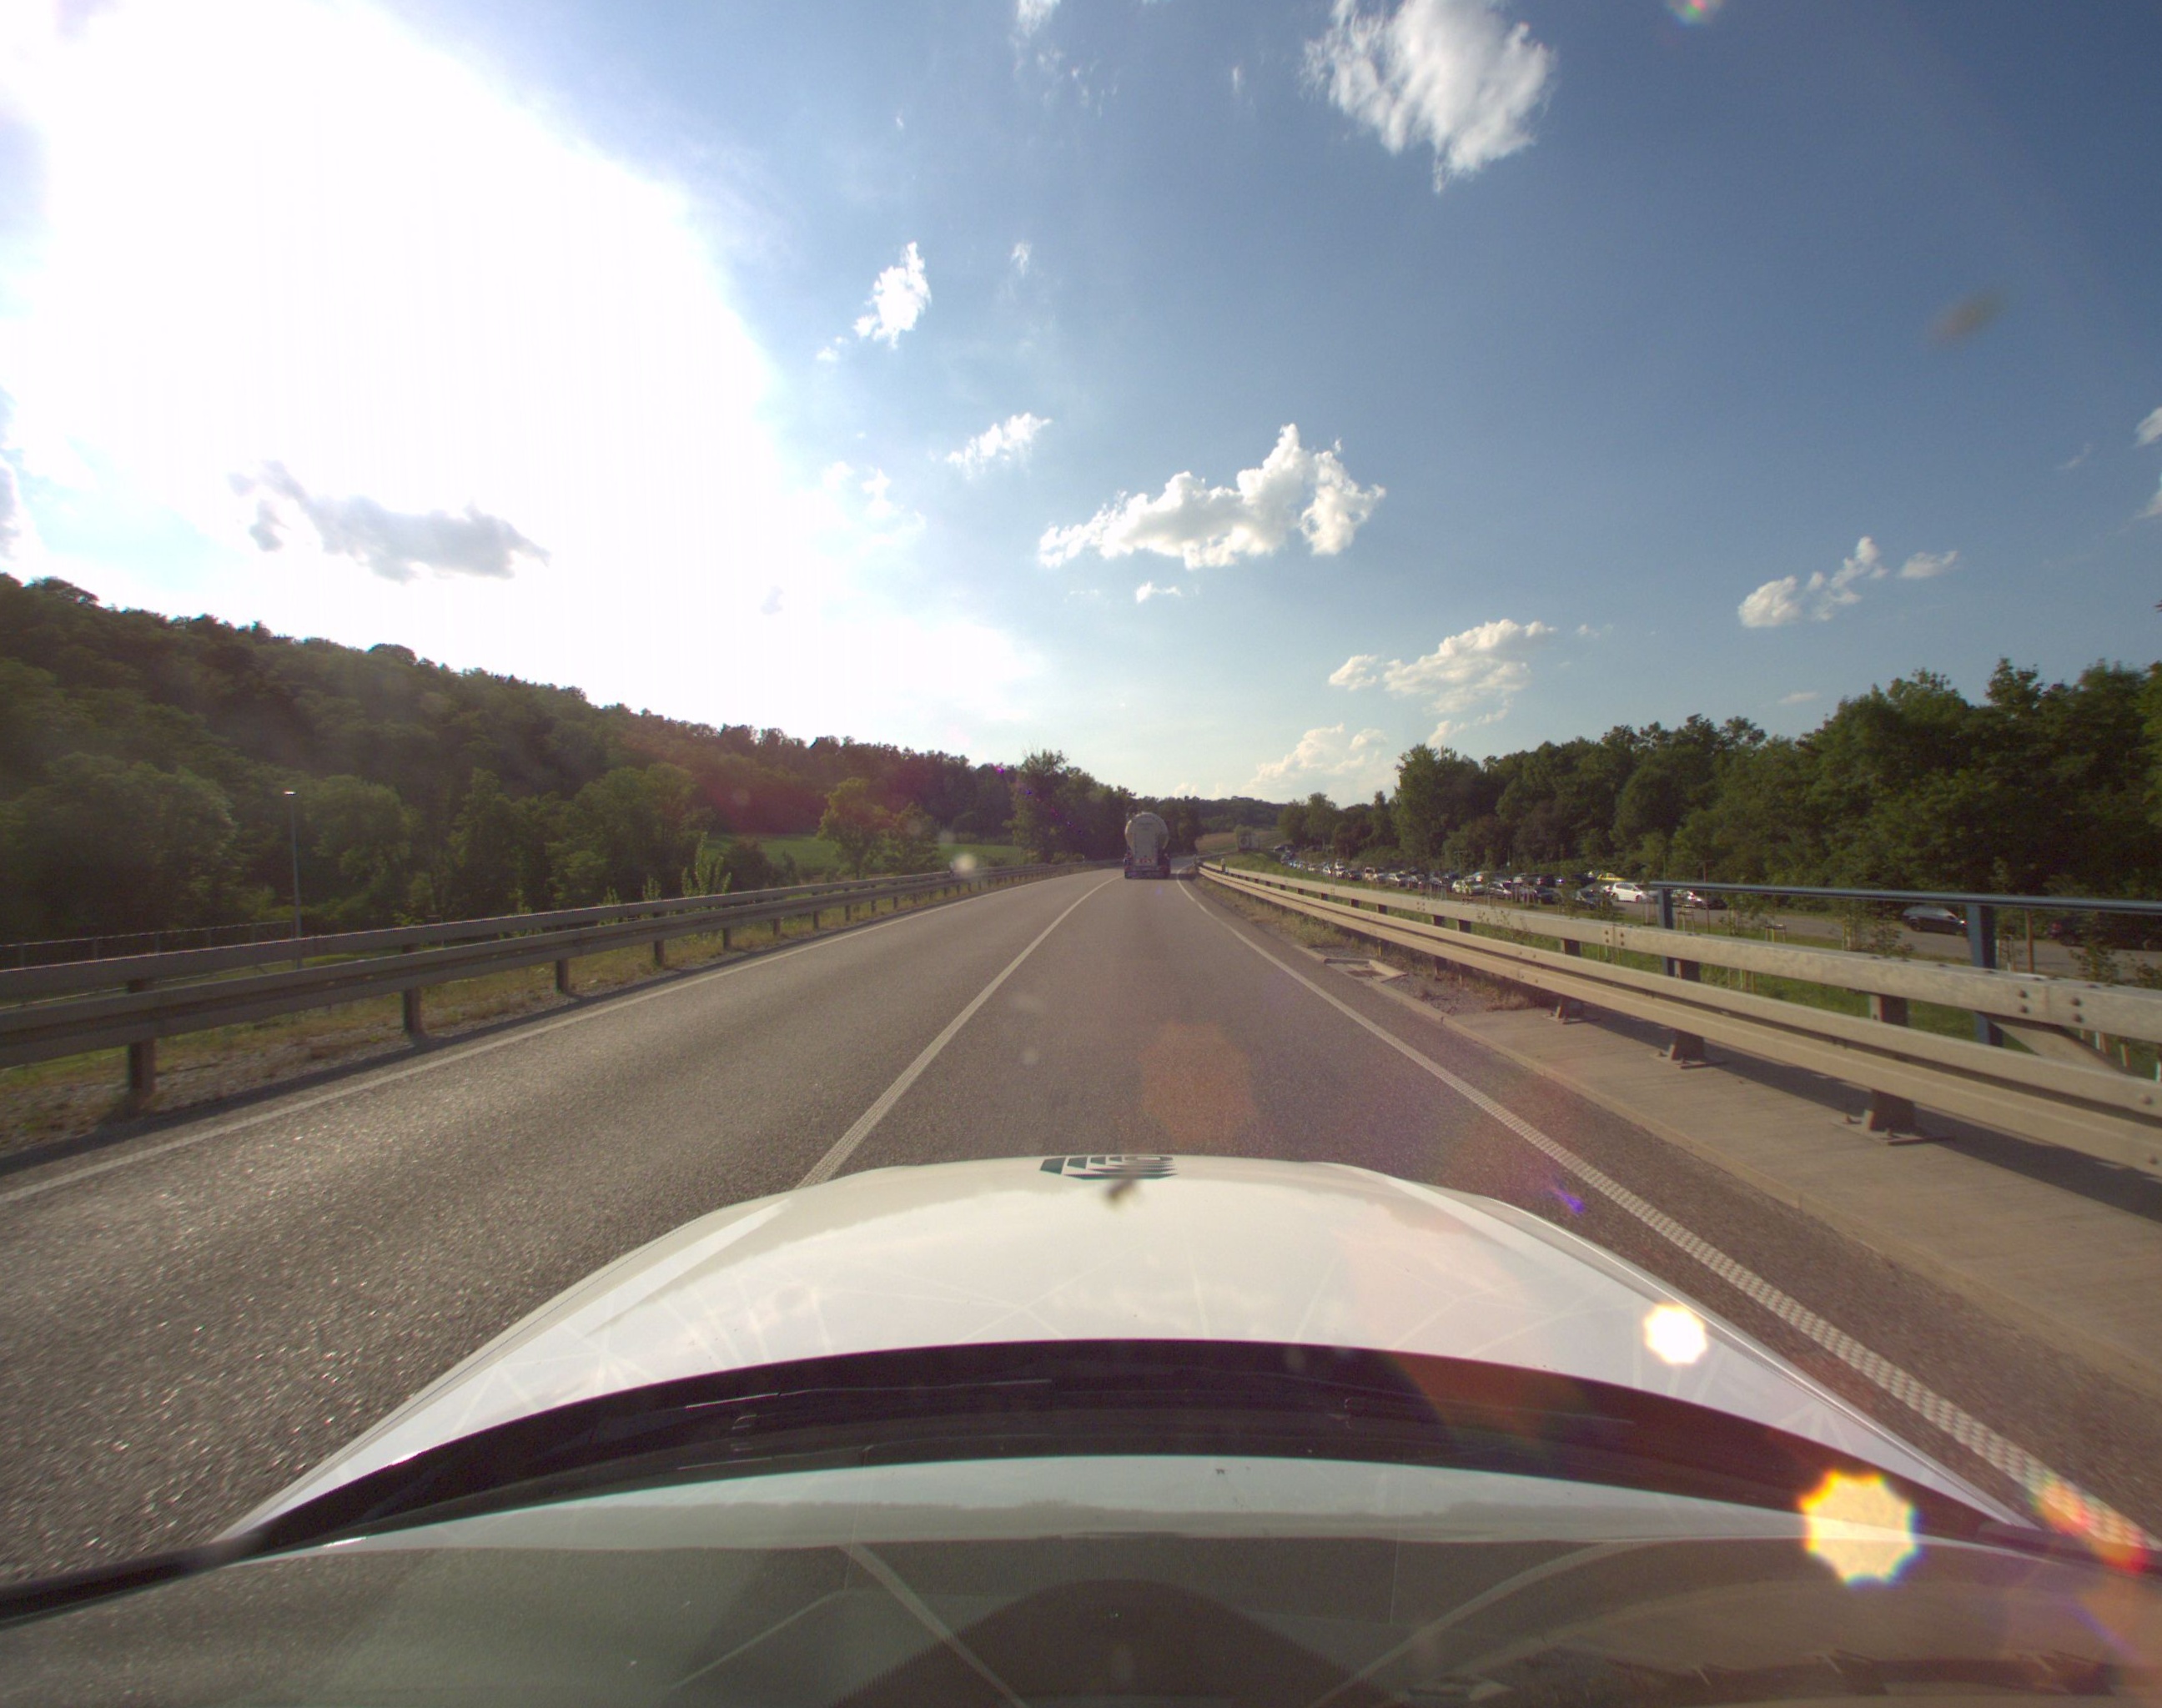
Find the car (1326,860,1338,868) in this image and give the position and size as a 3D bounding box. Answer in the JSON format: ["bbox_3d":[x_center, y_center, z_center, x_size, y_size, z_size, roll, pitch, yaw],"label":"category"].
[{"bbox_3d":[47.647,1.912,154.519,1.689,1.398,4.801,-4,0,12],"label":"car"}]

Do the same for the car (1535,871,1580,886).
[{"bbox_3d":[52.104,2.649,89.014,4.232,1.456,1.612,-2,1,-10],"label":"car"}]

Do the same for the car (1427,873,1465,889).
[{"bbox_3d":[40.091,2.973,89.506,1.816,1.482,4.385,-4,1,-7],"label":"car"}]

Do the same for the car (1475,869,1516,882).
[{"bbox_3d":[49.616,2.602,97.429,4.232,1.456,1.612,-1,0,-10],"label":"car"}]

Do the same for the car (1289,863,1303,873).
[{"bbox_3d":[41.327,2.676,156.652,1.883,1.559,4.790,-5,1,5],"label":"car"}]

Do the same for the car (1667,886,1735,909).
[{"bbox_3d":[46.748,3.257,61.477,1.652,1.496,4.216,-2,0,-5],"label":"car"}]

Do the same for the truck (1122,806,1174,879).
[{"bbox_3d":[4.538,-0.613,52.742,2.878,4.143,13.195,-1,0,6],"label":"truck"}]

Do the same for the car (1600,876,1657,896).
[{"bbox_3d":[49.597,2.900,73.791,4.224,1.456,1.616,-3,1,-4],"label":"car"}]

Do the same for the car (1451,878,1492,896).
[{"bbox_3d":[40.554,3.385,84.624,1.816,1.482,4.247,-4,1,-7],"label":"car"}]

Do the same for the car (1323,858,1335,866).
[{"bbox_3d":[50.144,1.642,164.623,1.685,1.398,4.813,-4,0,25],"label":"car"}]

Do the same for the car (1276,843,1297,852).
[{"bbox_3d":[53.855,-1.641,213.603,5.098,1.943,1.985,4,3,19],"label":"car"}]

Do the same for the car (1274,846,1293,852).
[{"bbox_3d":[52.169,-1.269,209.917,4.307,1.399,1.717,2,2,-7],"label":"car"}]

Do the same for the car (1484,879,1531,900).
[{"bbox_3d":[40.931,3.417,78.269,1.816,1.658,4.247,-4,1,-7],"label":"car"}]

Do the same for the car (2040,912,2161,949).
[{"bbox_3d":[48.034,3.554,38.277,1.669,1.496,3.639,-1,-1,-45],"label":"car"}]

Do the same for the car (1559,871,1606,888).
[{"bbox_3d":[53.007,2.691,86.110,4.233,1.456,1.612,-2,1,-10],"label":"car"}]

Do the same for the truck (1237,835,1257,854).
[{"bbox_3d":[39.769,-2.442,194.633,3.158,4.227,13.236,-2,1,18],"label":"truck"}]

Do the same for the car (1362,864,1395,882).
[{"bbox_3d":[39.271,2.469,107.729,2.114,2.017,5.374,-5,1,-3],"label":"car"}]

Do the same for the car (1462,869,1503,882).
[{"bbox_3d":[49.382,2.603,100.159,4.231,1.498,1.767,-1,1,-9],"label":"car"}]

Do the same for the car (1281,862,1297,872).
[{"bbox_3d":[41.548,2.571,162.779,1.886,1.559,4.783,-5,1,0],"label":"car"}]

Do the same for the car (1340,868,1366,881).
[{"bbox_3d":[38.883,2.893,116.546,1.888,1.482,4.778,-5,1,-3],"label":"car"}]

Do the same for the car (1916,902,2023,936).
[{"bbox_3d":[47.106,3.419,43.282,1.647,1.496,3.833,-2,0,4],"label":"car"}]

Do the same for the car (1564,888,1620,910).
[{"bbox_3d":[41.419,3.614,66.139,1.652,1.496,4.216,-2,0,-5],"label":"car"}]

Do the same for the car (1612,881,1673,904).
[{"bbox_3d":[46.538,3.126,67.608,1.650,1.666,4.705,-2,0,-2],"label":"car"}]

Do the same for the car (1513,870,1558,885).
[{"bbox_3d":[51.435,2.686,92.115,4.406,1.456,1.727,-2,1,-13],"label":"car"}]

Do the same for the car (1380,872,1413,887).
[{"bbox_3d":[39.207,3.183,101.284,1.888,1.482,4.778,-5,1,-3],"label":"car"}]

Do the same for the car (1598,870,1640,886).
[{"bbox_3d":[57.059,2.545,86.457,1.496,1.456,3.658,-3,1,-14],"label":"car"}]

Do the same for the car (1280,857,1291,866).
[{"bbox_3d":[43.807,1.598,174.389,1.878,1.559,4.803,-5,1,15],"label":"car"}]
